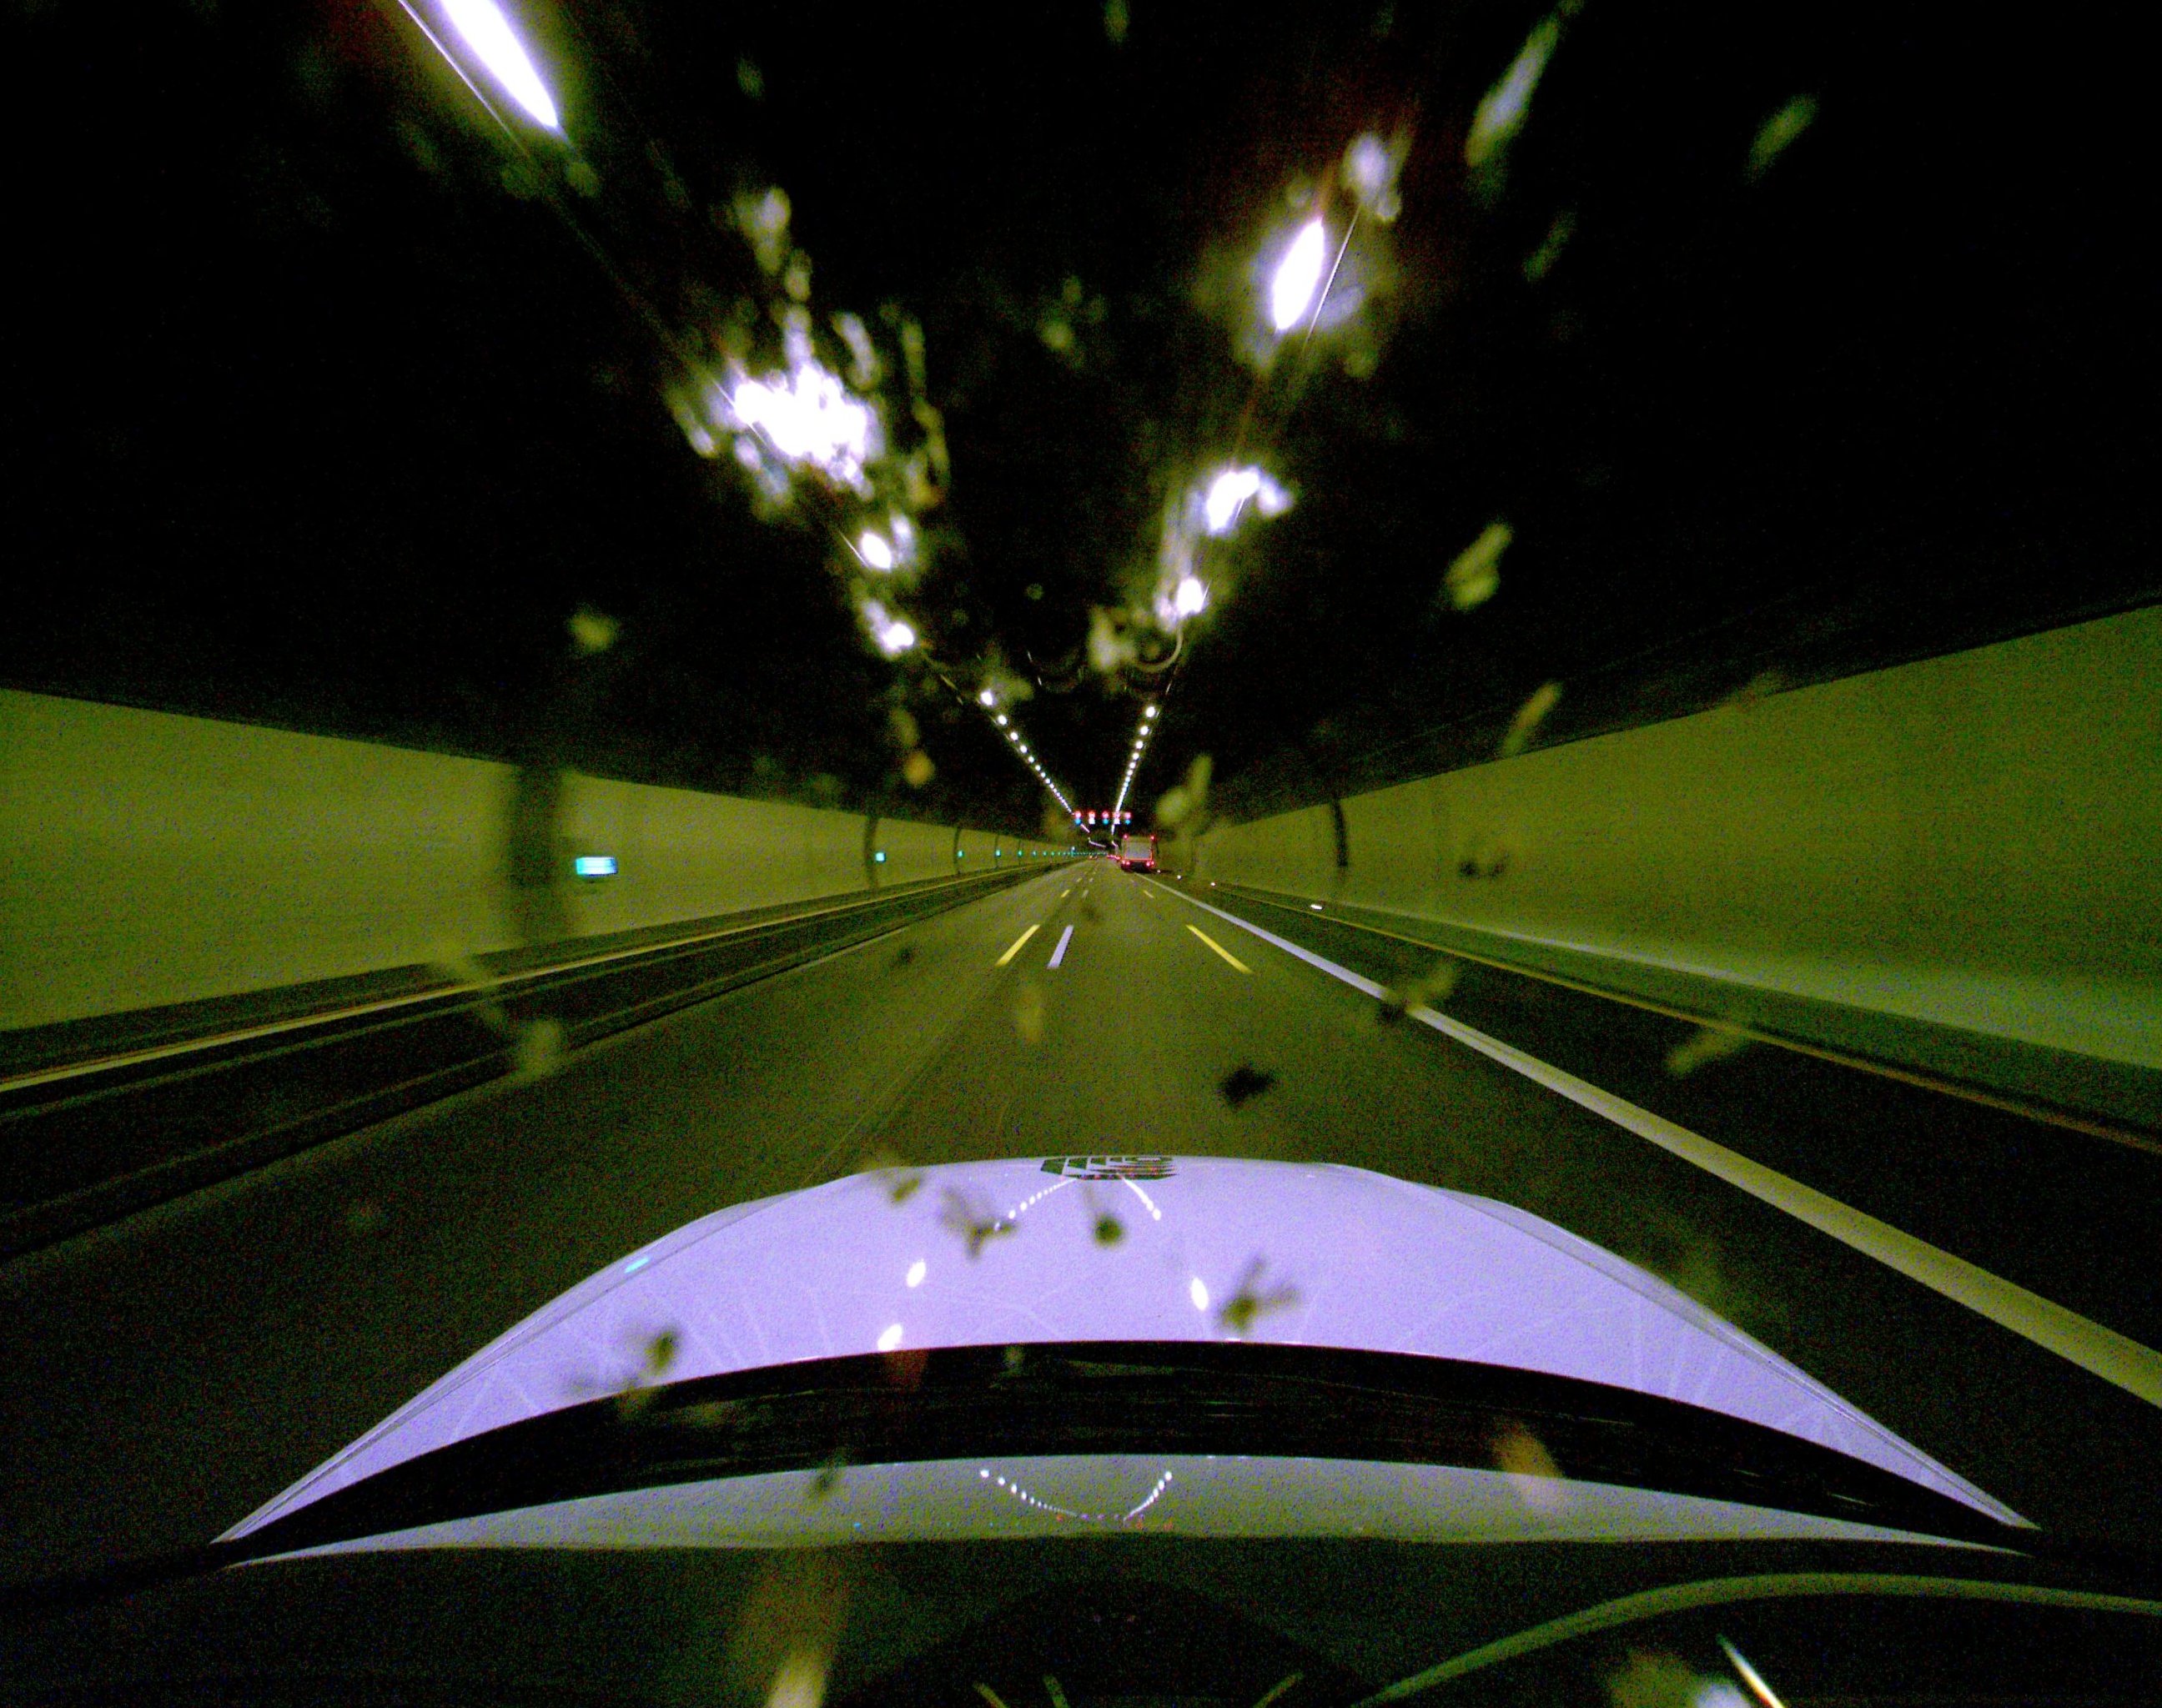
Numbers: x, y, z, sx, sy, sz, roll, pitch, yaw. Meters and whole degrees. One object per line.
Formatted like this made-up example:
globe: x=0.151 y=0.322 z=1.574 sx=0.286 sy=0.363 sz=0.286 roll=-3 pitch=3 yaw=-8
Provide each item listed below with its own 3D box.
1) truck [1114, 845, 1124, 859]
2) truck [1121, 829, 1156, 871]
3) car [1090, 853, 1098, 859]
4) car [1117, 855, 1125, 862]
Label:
truck: x=11.217 y=-0.588 z=239.582 sx=3.053 sy=3.918 sz=10.376 roll=0 pitch=-1 yaw=3
truck: x=5.636 y=-0.313 z=80.872 sx=3.080 sy=3.918 sz=10.372 roll=0 pitch=-1 yaw=2
car: x=3.271 y=0.568 z=201.143 sx=1.752 sy=1.461 sz=4.121 roll=0 pitch=1 yaw=2
car: x=8.337 y=0.922 z=169.917 sx=1.732 sy=1.461 sz=3.964 roll=0 pitch=1 yaw=3
